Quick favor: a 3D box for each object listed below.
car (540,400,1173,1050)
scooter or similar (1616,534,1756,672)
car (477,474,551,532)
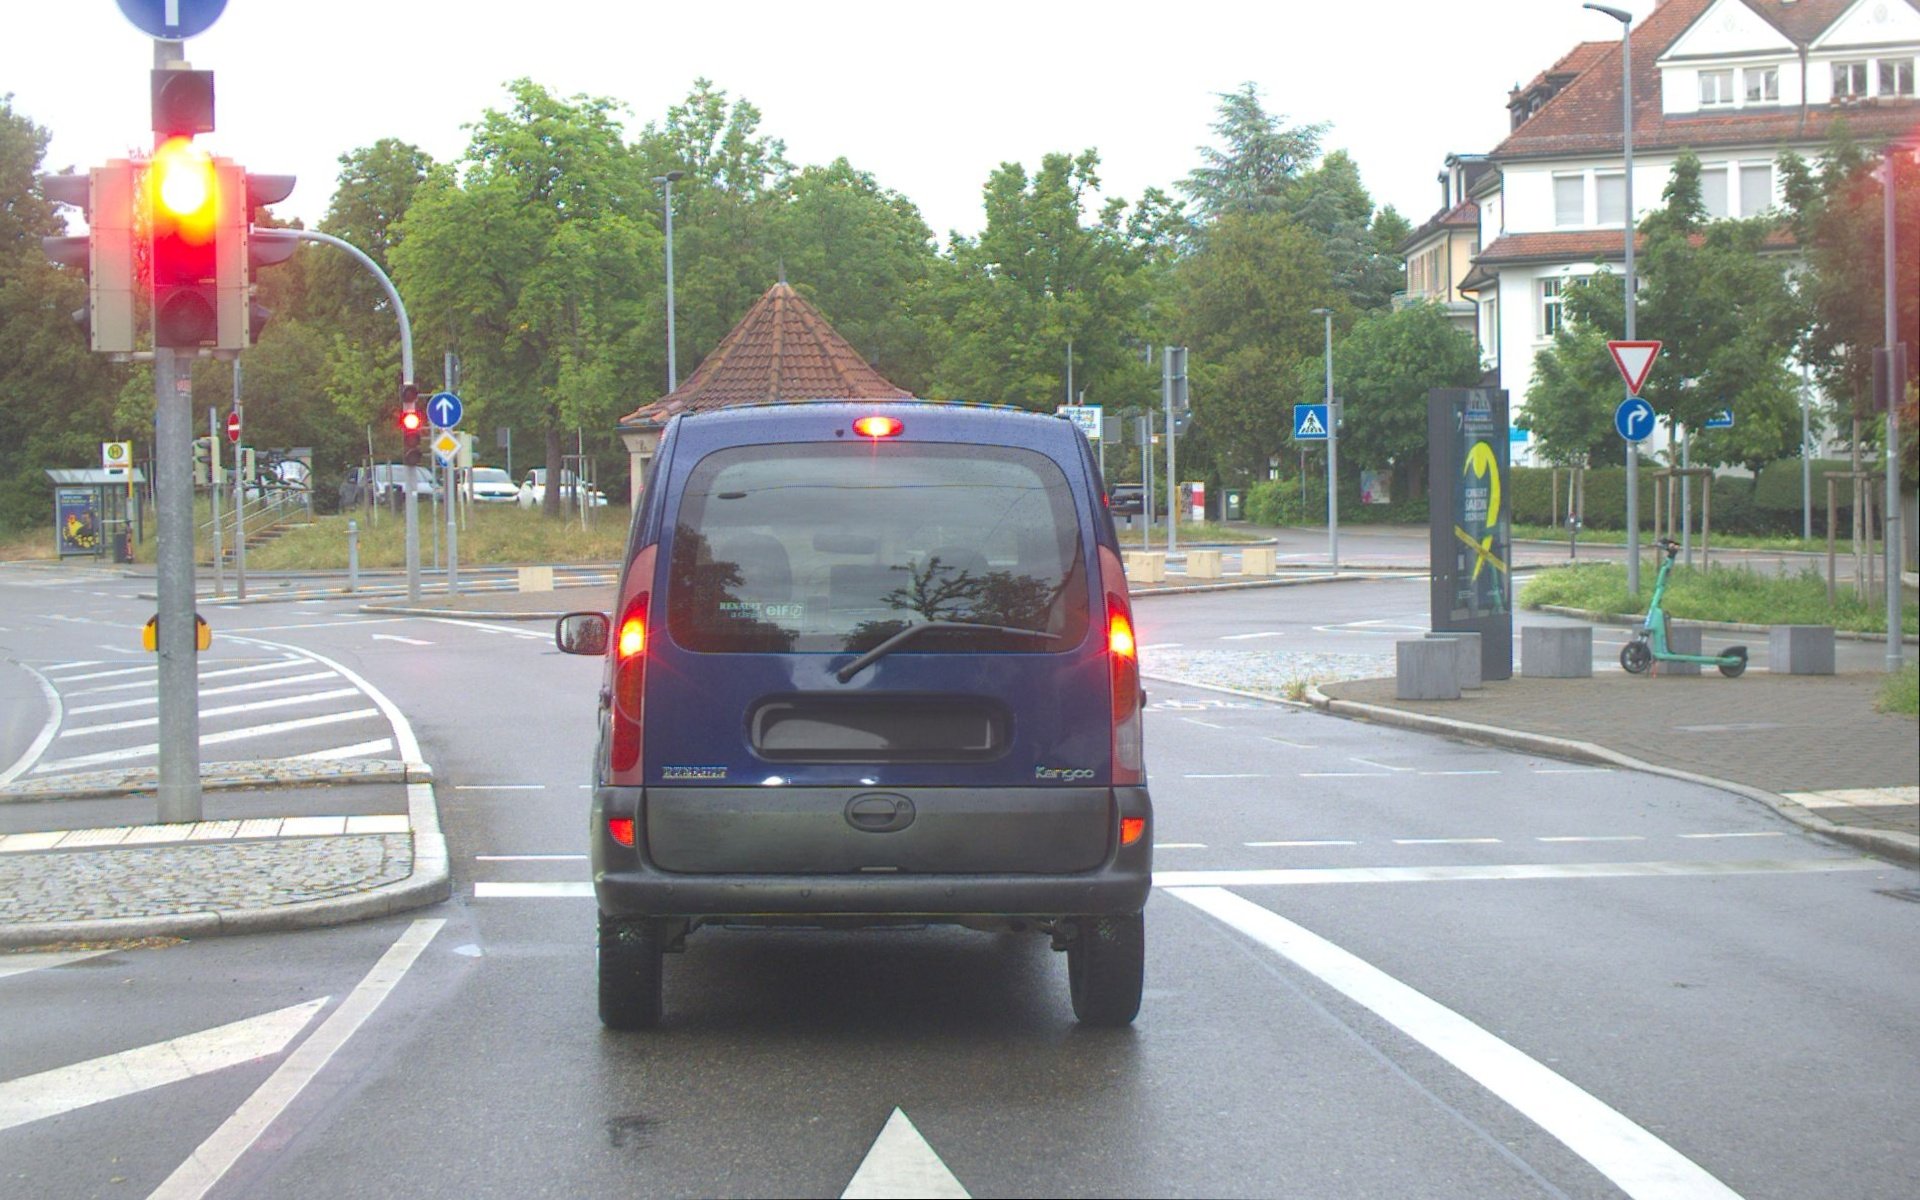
[{"bbox_3d":[-0.380,0.288,11.430,1.731,1.780,4.001,0,2,-3],"label":"car"},{"bbox_3d":[6.477,0.026,30.696,1.149,1.214,0.406,-1,0,-1],"label":"scooter or similar"},{"bbox_3d":[-14.567,-3.153,112.425,1.993,1.806,4.000,0,1,-1],"label":"car"}]
